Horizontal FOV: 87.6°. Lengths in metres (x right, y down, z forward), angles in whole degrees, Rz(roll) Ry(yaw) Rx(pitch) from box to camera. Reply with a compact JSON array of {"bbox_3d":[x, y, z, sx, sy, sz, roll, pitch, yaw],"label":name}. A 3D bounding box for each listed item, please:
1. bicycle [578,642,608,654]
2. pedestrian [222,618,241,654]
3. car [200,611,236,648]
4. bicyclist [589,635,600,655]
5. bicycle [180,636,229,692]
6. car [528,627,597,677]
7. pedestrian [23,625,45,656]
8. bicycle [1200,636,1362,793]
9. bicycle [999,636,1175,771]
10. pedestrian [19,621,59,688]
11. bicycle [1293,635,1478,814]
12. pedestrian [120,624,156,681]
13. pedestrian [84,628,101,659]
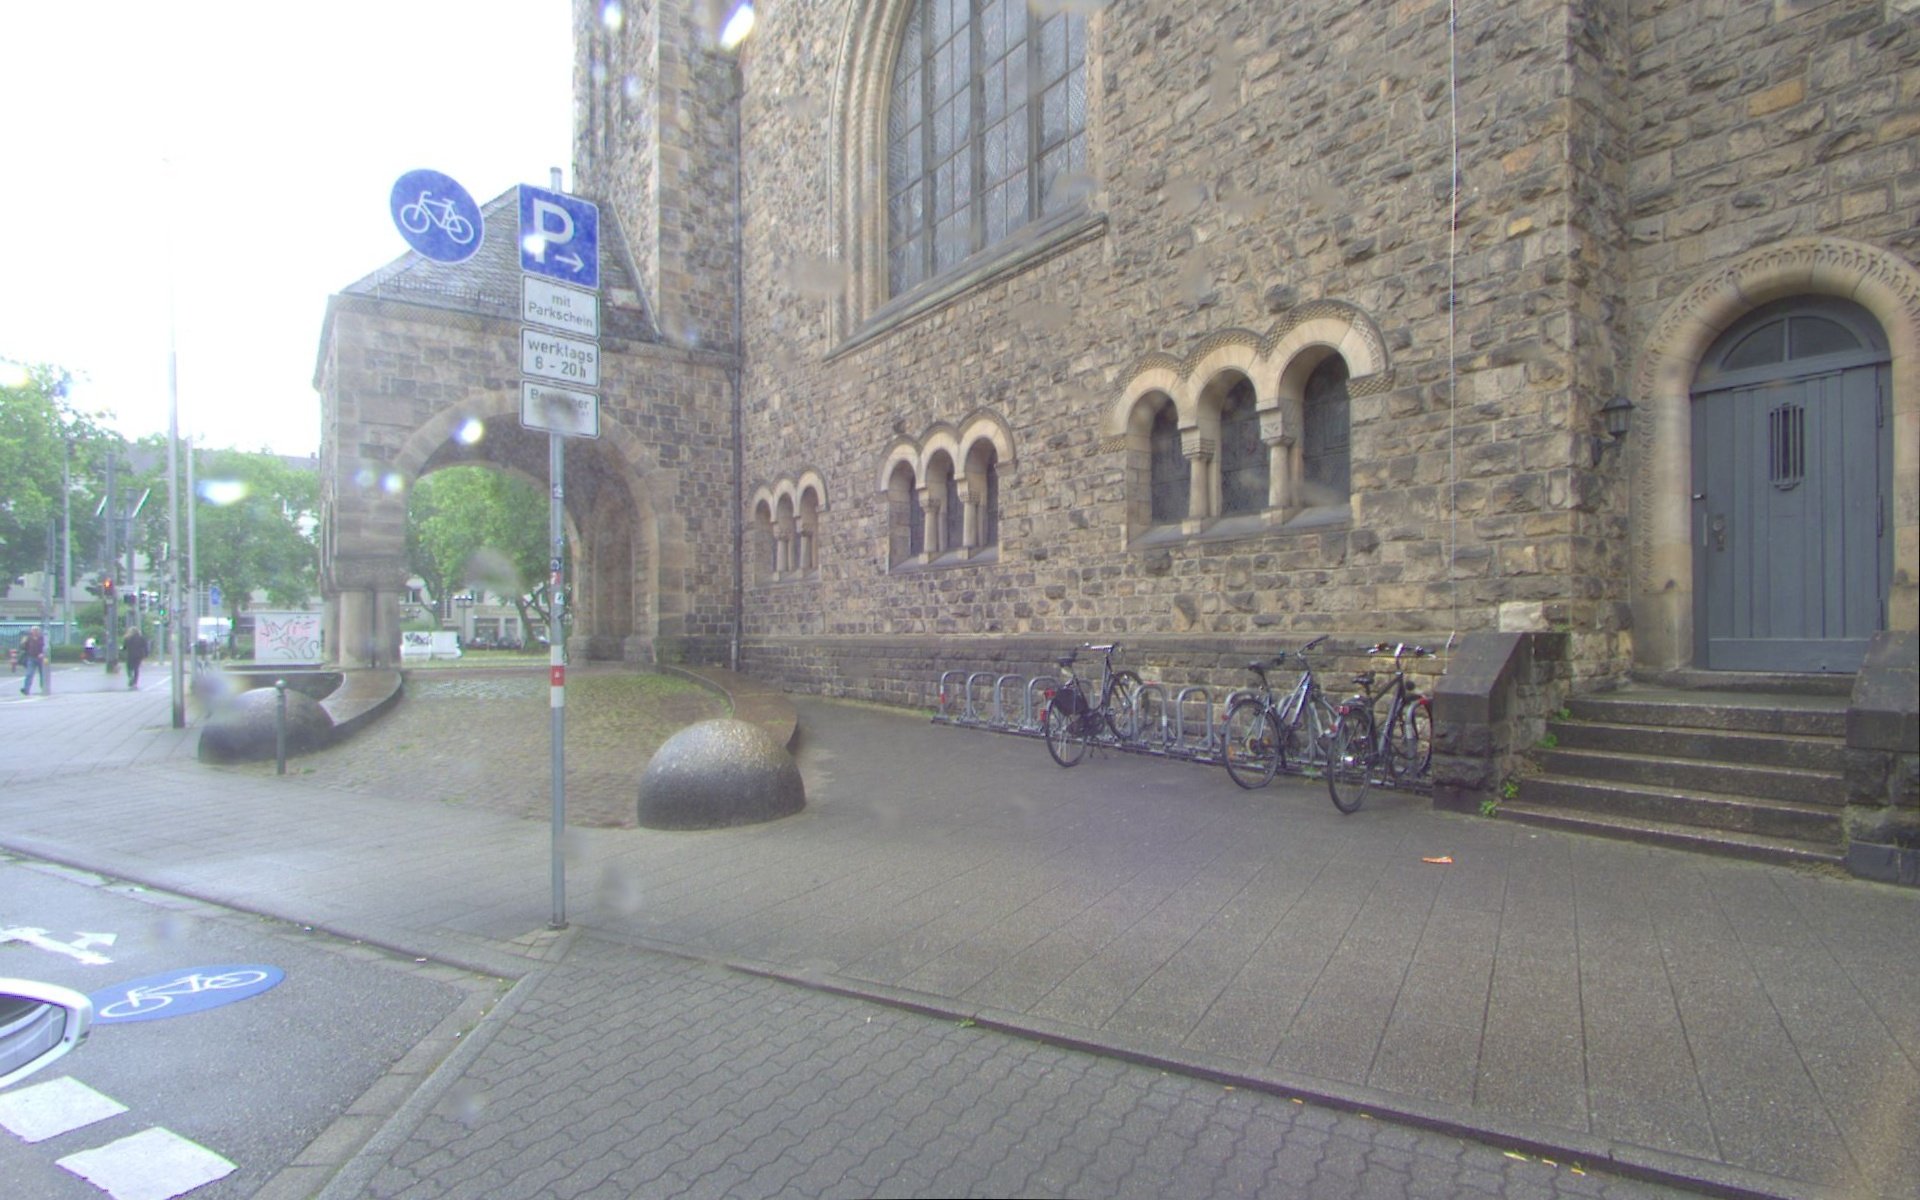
[{"bbox_3d":[-23.275,3.047,63.569,1.683,0.728,0.648,1,-1,-38],"label":"bicycle"},{"bbox_3d":[-41.420,2.021,56.942,0.797,2.040,0.586,0,-1,-31],"label":"pedestrian"},{"bbox_3d":[-53.693,2.115,72.523,1.888,2.588,4.757,0,-1,-34],"label":"car"},{"bbox_3d":[-23.209,2.849,63.597,0.517,1.266,0.648,0,-1,-36],"label":"bicyclist"},{"bbox_3d":[-16.615,1.391,22.004,2.049,1.169,0.327,-1,-1,38],"label":"bicycle"},{"bbox_3d":[-12.652,1.617,31.786,1.389,1.498,3.200,1,-2,-34],"label":"car"},{"bbox_3d":[-47.969,2.106,51.874,0.666,1.573,0.758,0,-2,-30],"label":"pedestrian"},{"bbox_3d":[2.732,0.899,8.429,1.697,1.126,0.556,-2,0,-45],"label":"bicycle"},{"bbox_3d":[1.298,0.958,9.908,0.684,1.119,1.973,-1,0,43],"label":"bicycle"},{"bbox_3d":[-25.178,1.465,27.388,0.780,1.782,0.936,0,0,-43],"label":"pedestrian"},{"bbox_3d":[3.144,0.827,7.288,1.971,1.068,0.507,-2,0,-45],"label":"bicycle"},{"bbox_3d":[-24.790,1.565,30.215,0.775,1.667,0.651,0,0,-34],"label":"pedestrian"},{"bbox_3d":[-45.567,2.288,52.616,0.607,1.624,0.491,0,-1,-34],"label":"pedestrian"}]
